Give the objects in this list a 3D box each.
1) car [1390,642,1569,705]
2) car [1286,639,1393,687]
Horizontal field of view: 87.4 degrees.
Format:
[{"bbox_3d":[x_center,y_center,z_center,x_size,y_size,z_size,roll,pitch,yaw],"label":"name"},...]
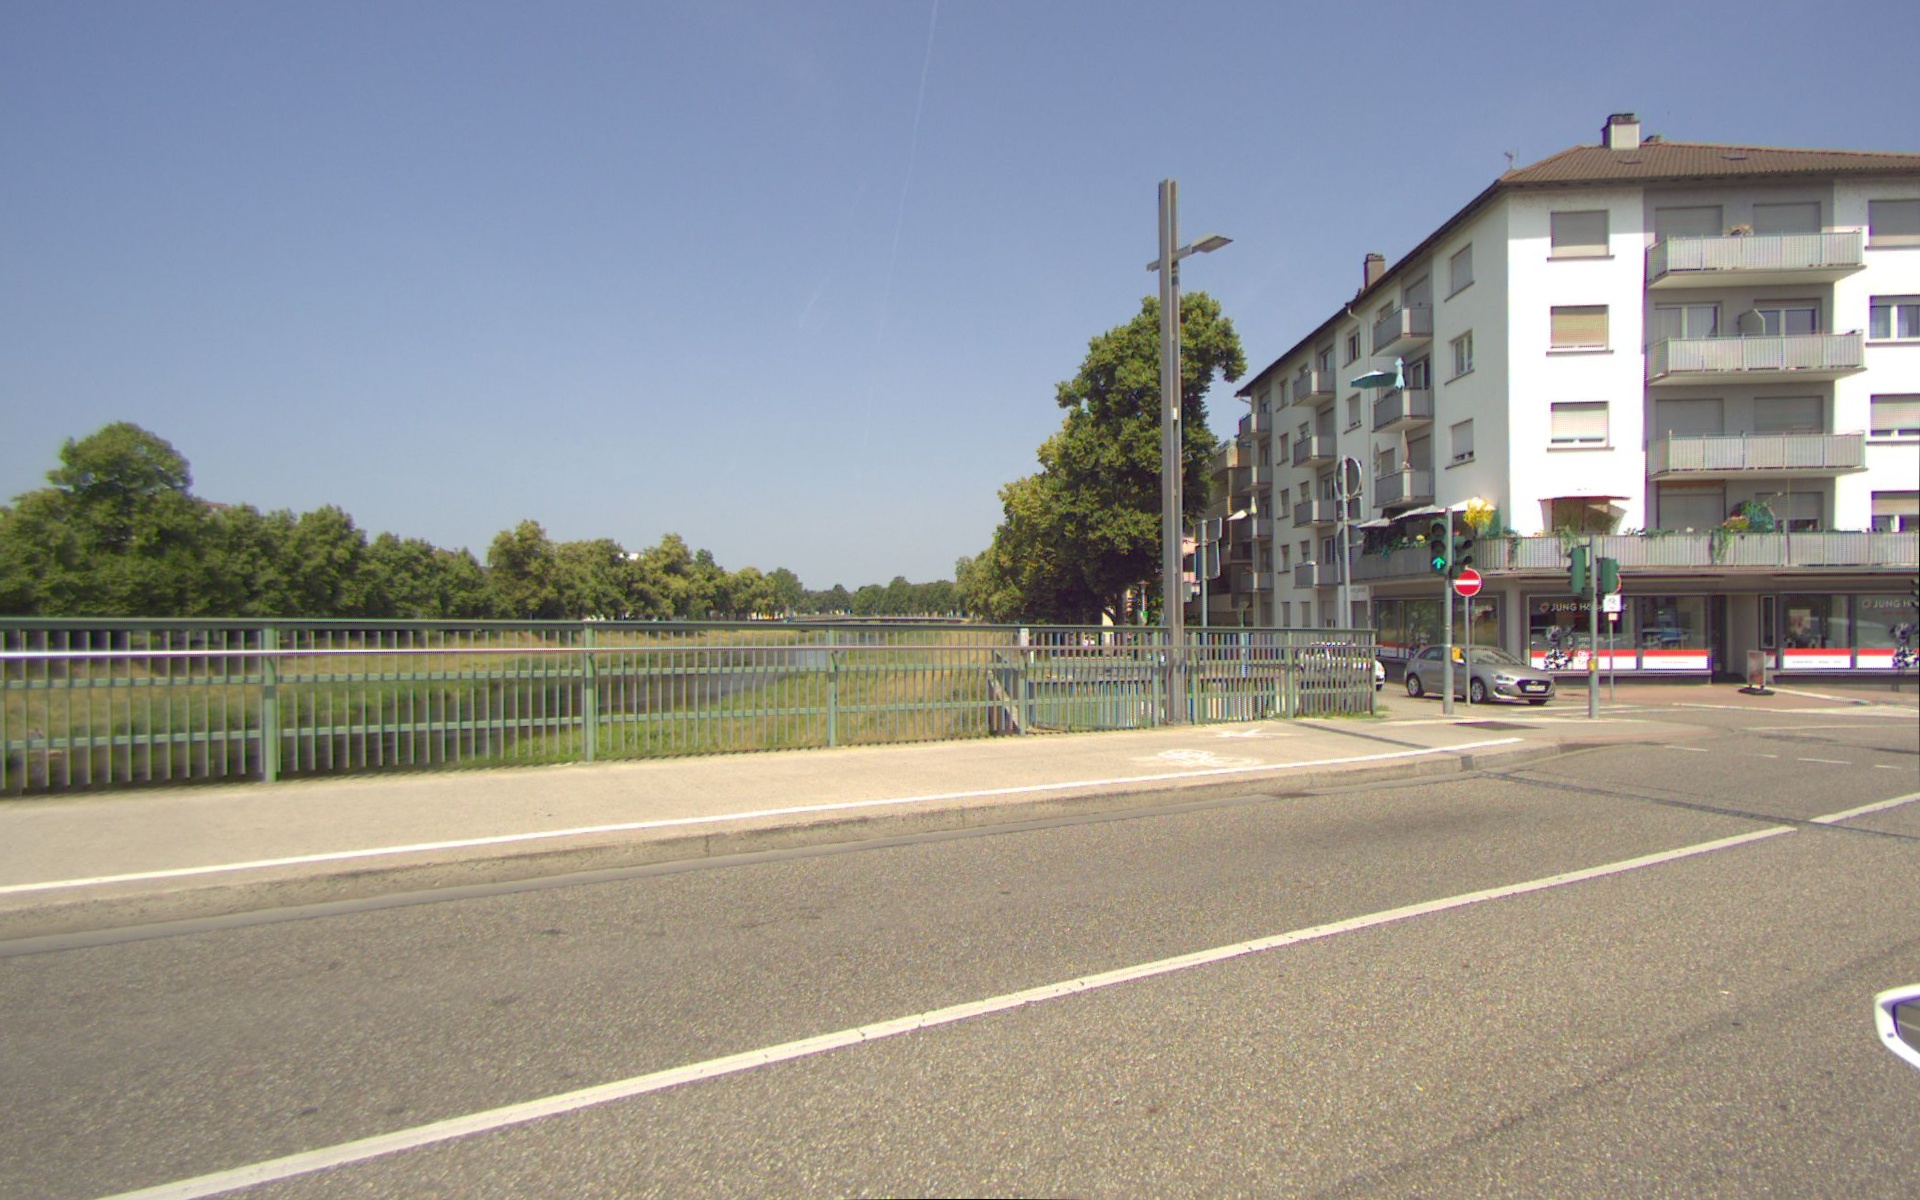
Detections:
[{"bbox_3d":[13.123,1.813,25.701,1.672,1.438,4.376,0,-2,-12],"label":"car"},{"bbox_3d":[12.180,1.986,32.575,1.669,1.438,4.385,-1,-2,-2],"label":"car"}]
